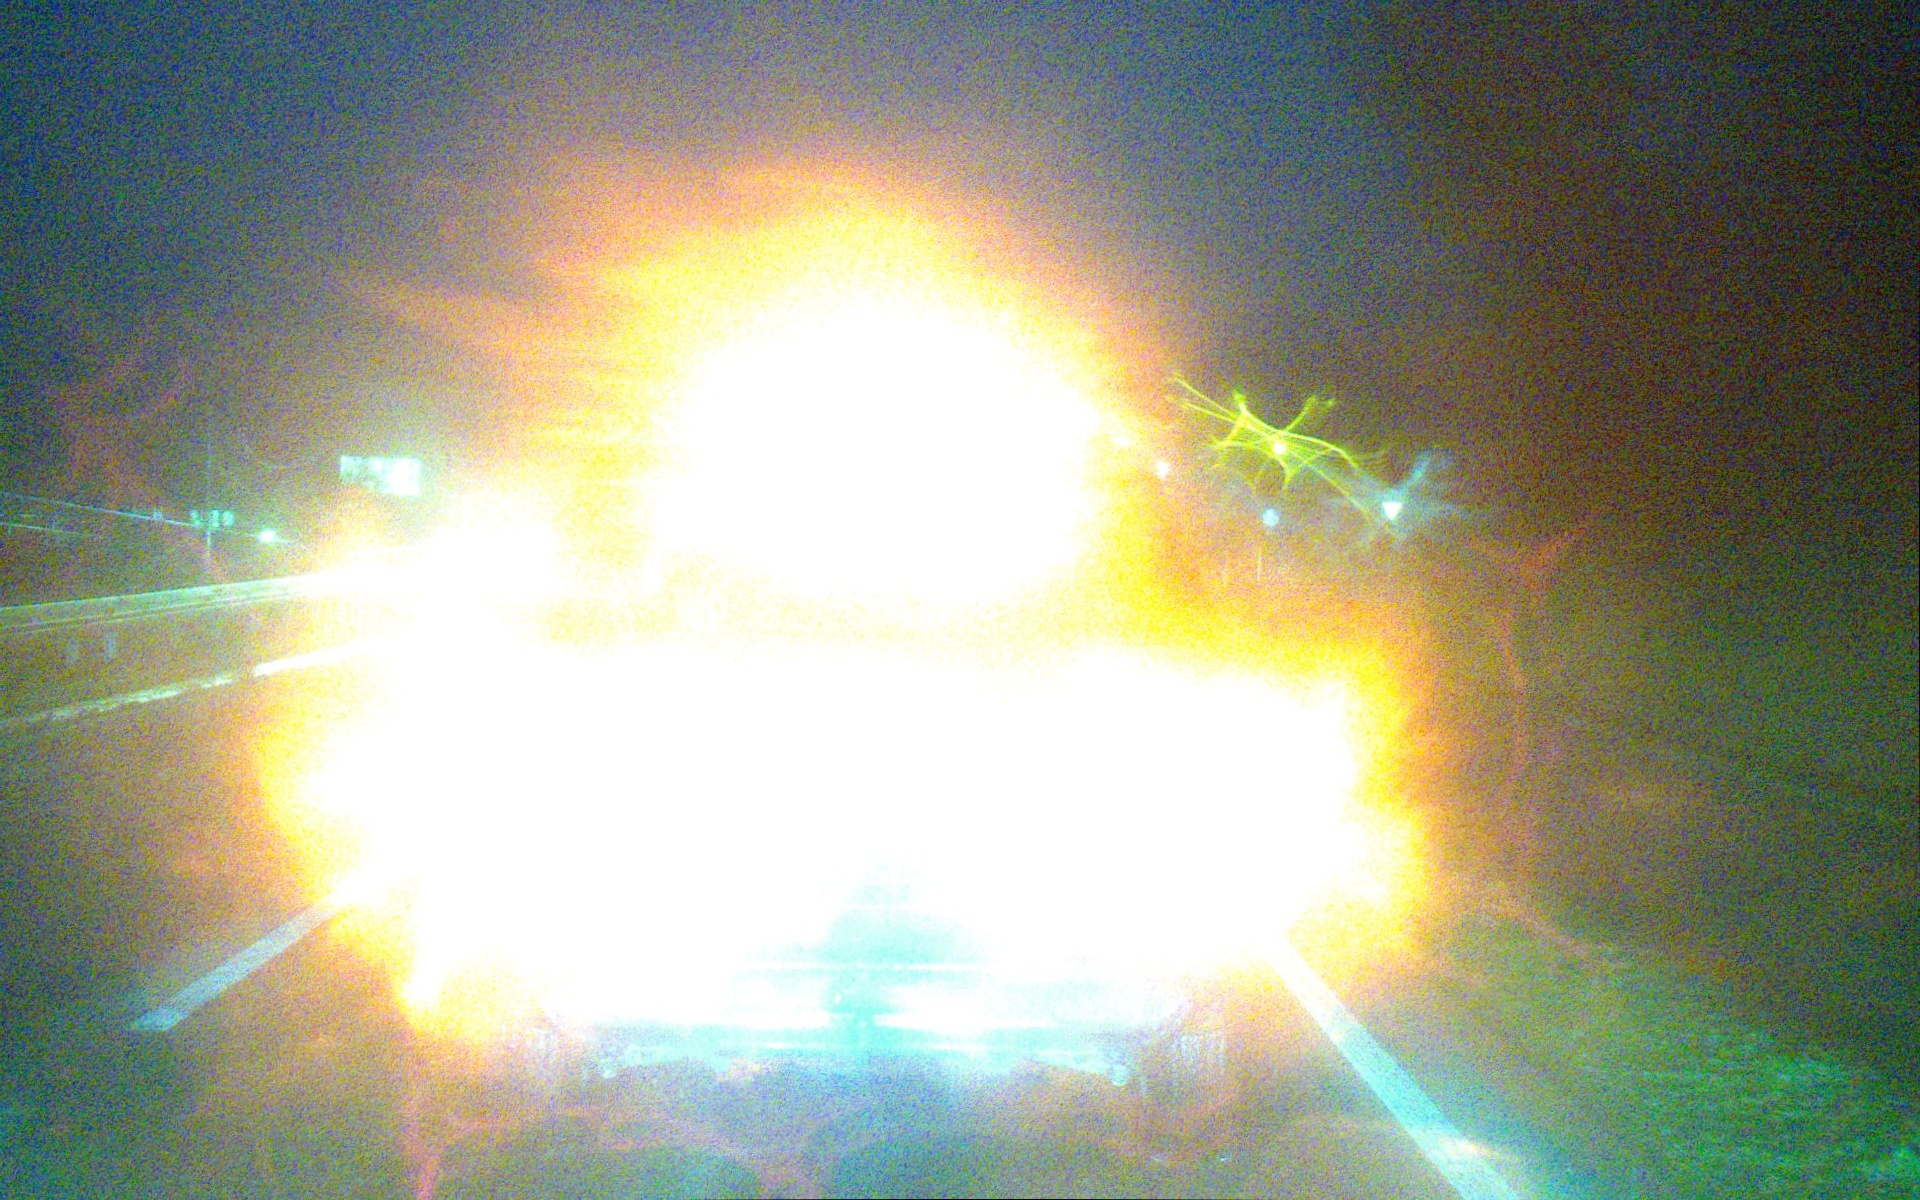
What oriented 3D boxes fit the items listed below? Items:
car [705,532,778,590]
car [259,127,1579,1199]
[{"bbox_3d":[-5.877,-1.063,92.754,1.544,1.505,3.880,2,1,2],"label":"car"},{"bbox_3d":[-0.128,0.112,10.173,2.715,2.299,6.101,0,1,-1],"label":"car"}]
